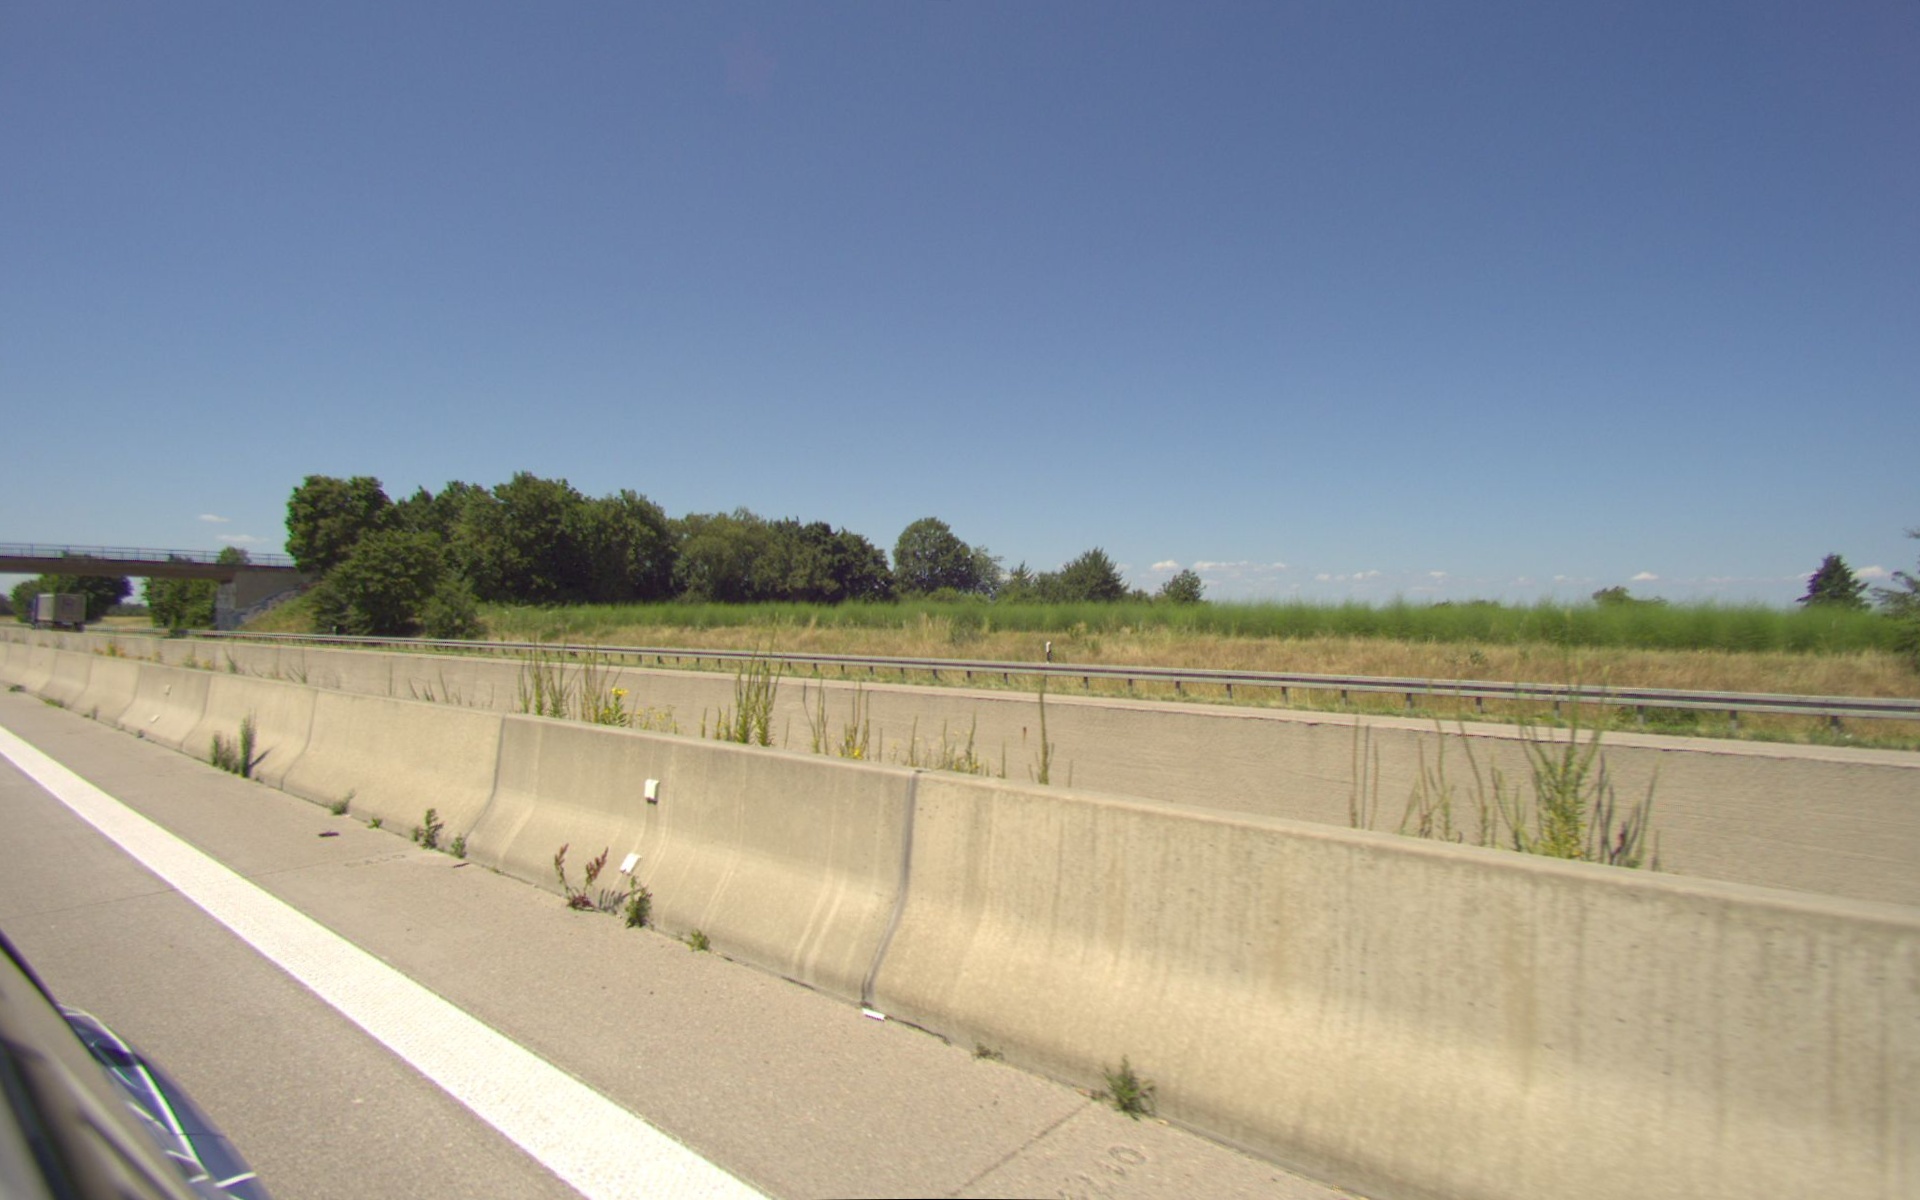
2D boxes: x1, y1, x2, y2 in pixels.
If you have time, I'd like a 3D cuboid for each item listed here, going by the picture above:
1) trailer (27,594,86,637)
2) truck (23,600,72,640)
[{"bbox_3d":[-92.936,1.662,103.988,11.599,4.121,2.950,-1,-4,41],"label":"trailer"},{"bbox_3d":[-96.910,2.140,107.462,6.462,4.121,2.950,-1,-4,41],"label":"truck"}]
